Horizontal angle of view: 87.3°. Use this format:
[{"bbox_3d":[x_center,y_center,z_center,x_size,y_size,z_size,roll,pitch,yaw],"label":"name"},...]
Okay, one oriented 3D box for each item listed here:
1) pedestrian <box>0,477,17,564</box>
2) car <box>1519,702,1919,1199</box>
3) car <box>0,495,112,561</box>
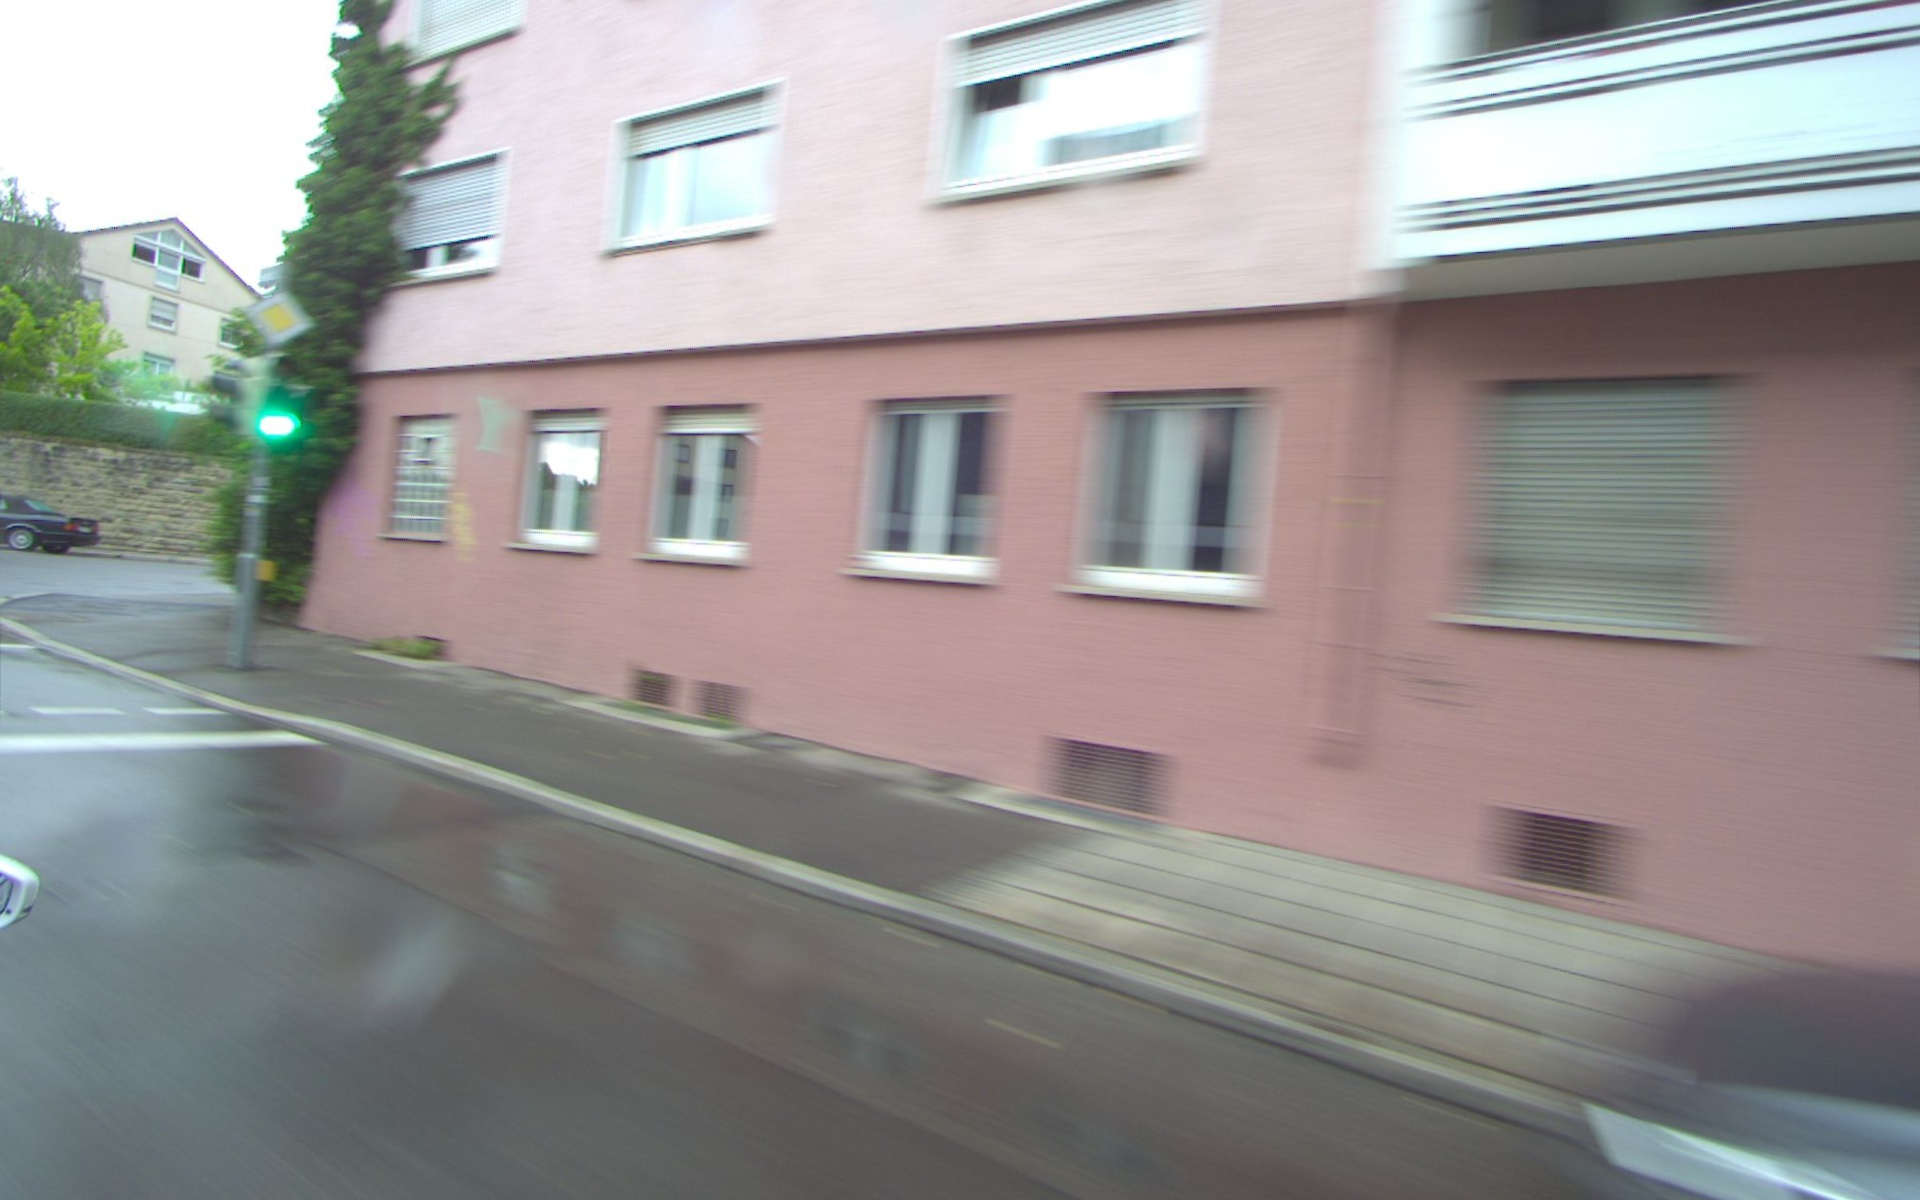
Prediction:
[{"bbox_3d":[-19.896,-1.666,20.474,0.890,1.737,0.724,7,2,32],"label":"pedestrian"},{"bbox_3d":[3.507,1.266,1.569,4.435,1.538,1.796,7,-1,29],"label":"car"},{"bbox_3d":[-23.691,-1.848,24.499,4.211,1.410,1.746,4,0,-18],"label":"car"}]
